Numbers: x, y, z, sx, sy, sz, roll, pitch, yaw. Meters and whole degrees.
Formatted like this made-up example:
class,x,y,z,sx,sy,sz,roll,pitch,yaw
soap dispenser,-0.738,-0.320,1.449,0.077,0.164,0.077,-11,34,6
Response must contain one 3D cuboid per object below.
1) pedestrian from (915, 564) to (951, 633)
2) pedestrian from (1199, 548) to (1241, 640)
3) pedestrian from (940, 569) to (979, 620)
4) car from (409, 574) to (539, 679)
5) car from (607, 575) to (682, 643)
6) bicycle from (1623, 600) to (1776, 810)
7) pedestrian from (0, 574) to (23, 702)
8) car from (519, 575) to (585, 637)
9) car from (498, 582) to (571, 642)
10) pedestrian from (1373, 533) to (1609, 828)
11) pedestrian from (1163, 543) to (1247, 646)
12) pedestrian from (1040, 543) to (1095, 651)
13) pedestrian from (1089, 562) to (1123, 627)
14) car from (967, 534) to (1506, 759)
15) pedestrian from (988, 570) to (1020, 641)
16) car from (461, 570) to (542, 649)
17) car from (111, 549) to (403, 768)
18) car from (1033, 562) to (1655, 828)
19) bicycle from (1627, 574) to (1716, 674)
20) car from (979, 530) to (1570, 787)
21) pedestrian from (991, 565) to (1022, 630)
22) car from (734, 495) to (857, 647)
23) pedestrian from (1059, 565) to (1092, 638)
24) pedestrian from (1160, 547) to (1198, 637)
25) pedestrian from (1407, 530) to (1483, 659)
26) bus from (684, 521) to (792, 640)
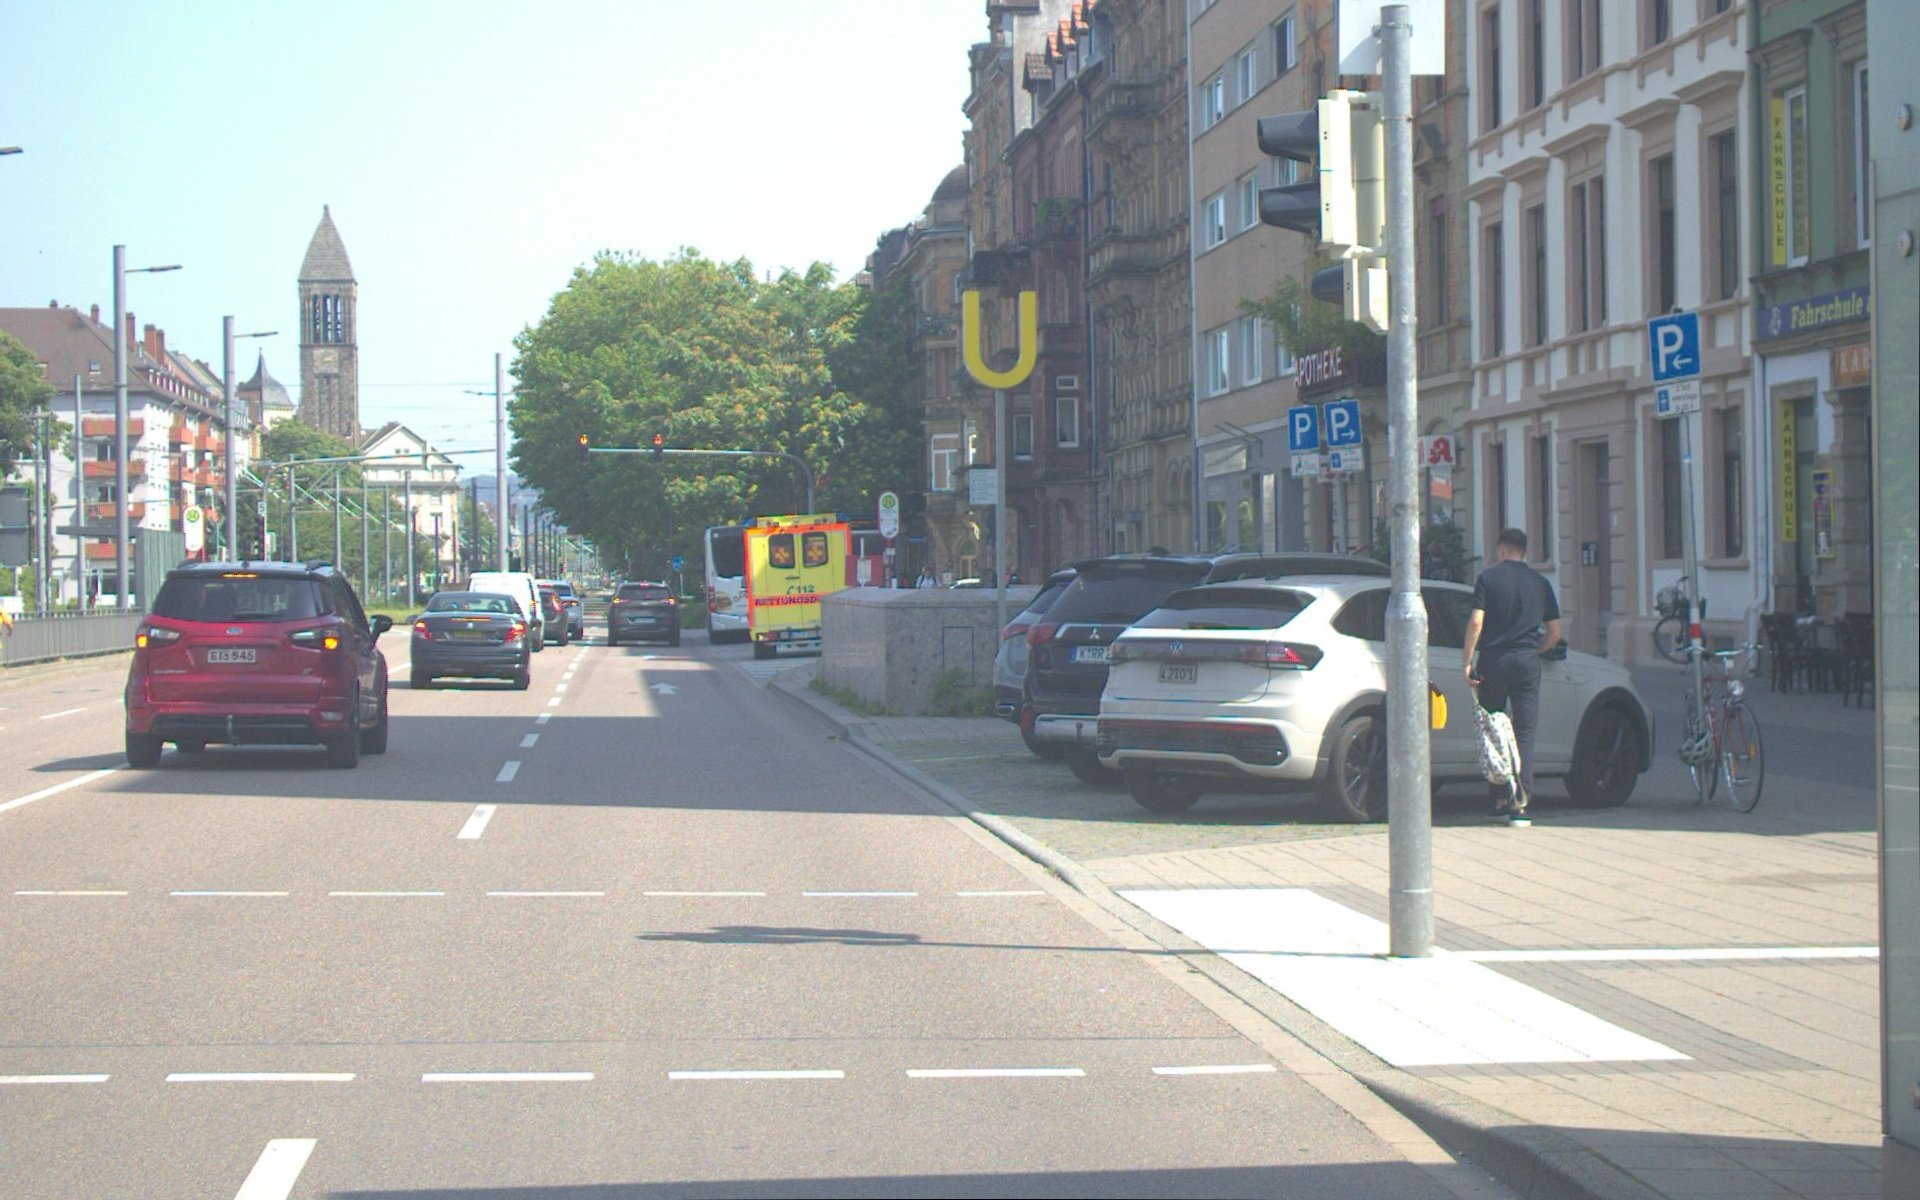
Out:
class,x,y,z,sx,sy,sz,roll,pitch,yaw
pedestrian,-0.646,-0.039,82.809,0.697,1.661,0.602,0,0,20
pedestrian,5.168,-0.129,68.414,0.599,1.789,0.880,-3,0,-6
pedestrian,-0.025,-0.197,121.153,1.249,1.746,1.526,-1,2,-5
car,-7.062,0.357,50.149,1.790,1.427,4.001,-1,1,-7
car,-8.114,0.240,88.090,1.790,1.672,4.001,0,0,-7
bicycle,4.771,0.663,22.277,0.473,1.292,1.792,-1,-1,-3
pedestrian,-13.354,0.526,47.245,0.761,1.746,1.069,-1,0,-7
car,-11.432,0.173,96.272,1.790,1.692,4.001,0,0,-7
car,-10.816,0.322,87.404,1.790,1.467,4.001,0,0,-7
pedestrian,3.154,0.464,20.449,1.034,1.698,0.904,1,0,-32
pedestrian,3.811,-0.085,53.478,0.850,1.576,0.970,-1,0,-39
pedestrian,1.780,-0.051,56.931,0.850,1.723,0.971,-2,2,1
pedestrian,3.386,-0.130,79.793,0.643,1.488,0.789,-1,0,-6
car,2.396,0.325,28.776,2.042,1.708,4.654,0,1,43
pedestrian,1.028,0.123,80.599,0.696,1.661,0.603,0,0,-3
car,-10.553,0.223,79.375,1.790,1.774,4.001,0,0,-7
car,-5.601,0.421,27.833,1.762,1.612,4.083,-1,0,-4
car,2.482,0.565,21.793,3.774,1.495,1.806,1,1,-41
bicycle,9.076,0.291,43.924,0.480,1.142,2.471,-1,2,-4
car,2.361,0.355,24.942,1.985,1.682,4.381,0,1,43
pedestrian,1.193,-0.075,88.303,0.696,1.661,1.064,0,0,-3
car,-3.277,-0.603,69.493,2.299,2.878,5.599,-2,1,-2
pedestrian,2.668,0.023,79.727,0.643,1.679,0.789,-1,0,-6
pedestrian,4.356,-0.157,68.460,0.577,1.744,0.679,-3,0,-6
pedestrian,7.124,-0.084,50.530,0.840,1.840,0.686,-2,1,-14
bus,-6.184,-0.542,94.427,2.533,3.021,12.438,-1,0,-5
